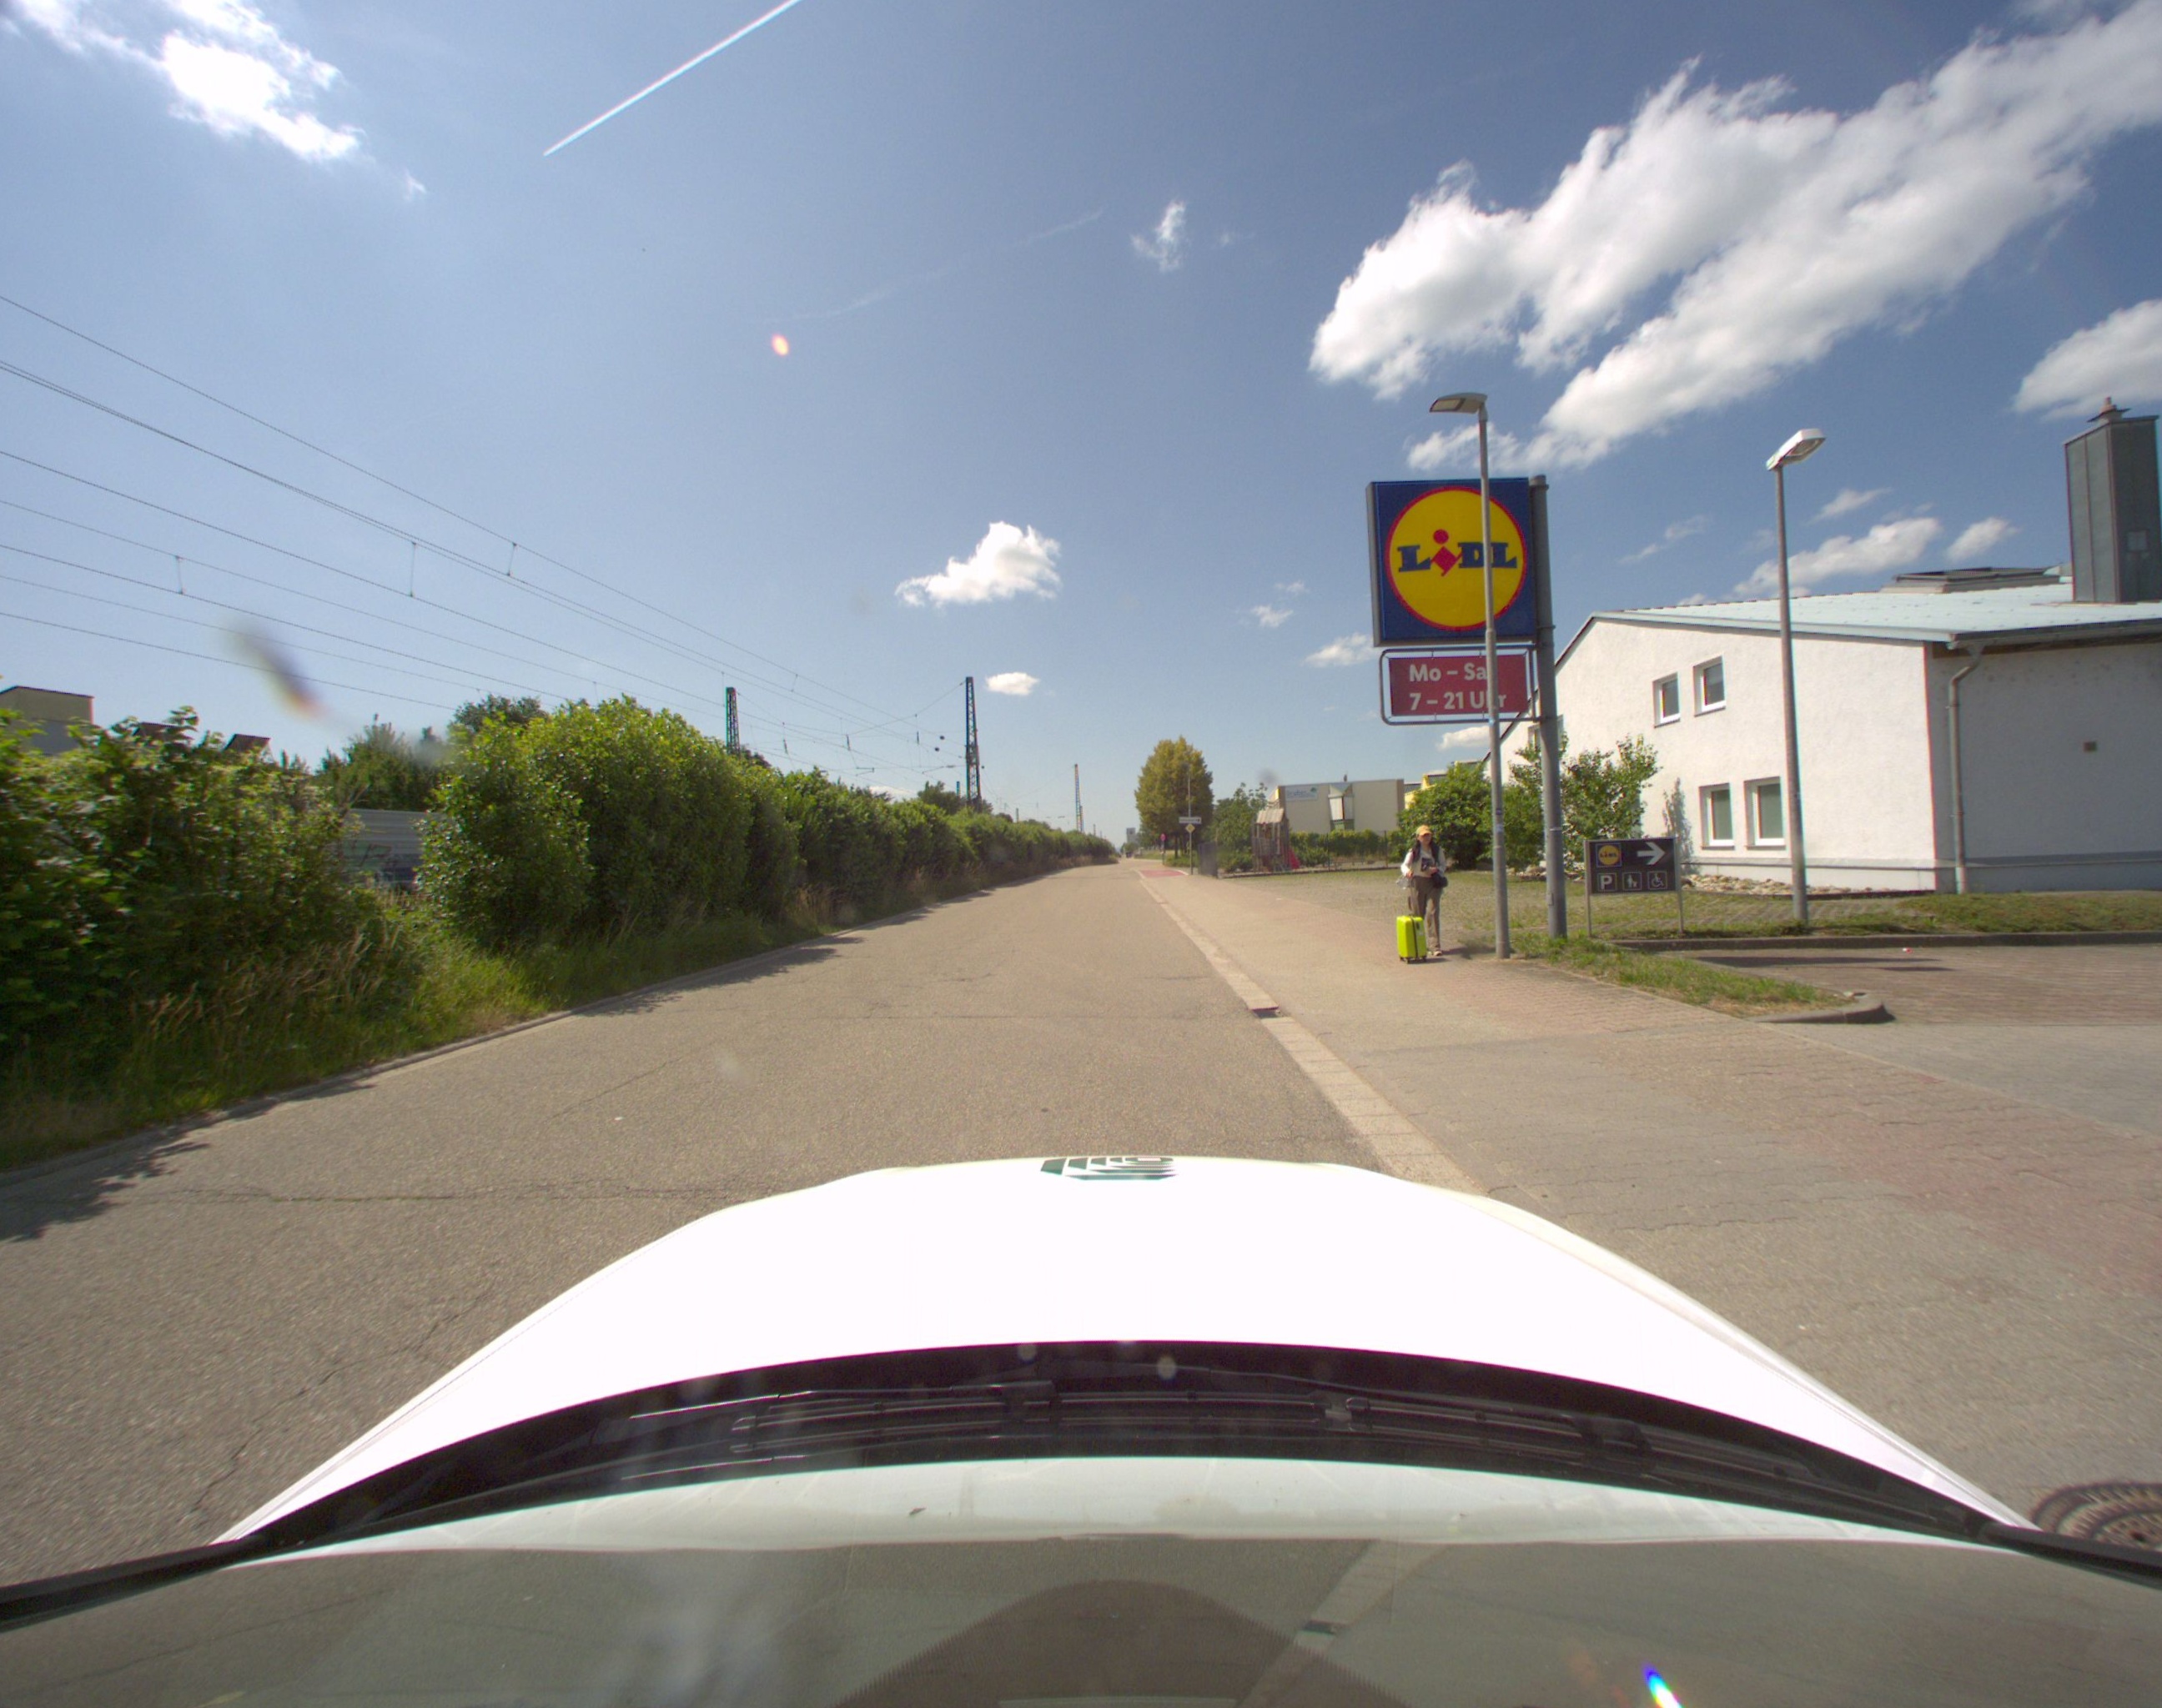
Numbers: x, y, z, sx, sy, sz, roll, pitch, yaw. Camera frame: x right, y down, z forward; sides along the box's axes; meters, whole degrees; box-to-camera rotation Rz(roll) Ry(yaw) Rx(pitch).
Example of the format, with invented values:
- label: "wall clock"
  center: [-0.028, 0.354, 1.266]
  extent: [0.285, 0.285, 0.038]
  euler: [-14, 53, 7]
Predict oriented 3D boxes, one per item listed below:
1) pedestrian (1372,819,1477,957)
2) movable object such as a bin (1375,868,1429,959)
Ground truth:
- label: "pedestrian"
  center: [4.285, 0.396, 10.257]
  extent: [0.759, 1.601, 1.210]
  euler: [-2, 0, -1]
- label: "movable object such as a bin"
  center: [3.875, 0.706, 9.848]
  extent: [0.373, 1.029, 0.498]
  euler: [-4, 0, -2]
